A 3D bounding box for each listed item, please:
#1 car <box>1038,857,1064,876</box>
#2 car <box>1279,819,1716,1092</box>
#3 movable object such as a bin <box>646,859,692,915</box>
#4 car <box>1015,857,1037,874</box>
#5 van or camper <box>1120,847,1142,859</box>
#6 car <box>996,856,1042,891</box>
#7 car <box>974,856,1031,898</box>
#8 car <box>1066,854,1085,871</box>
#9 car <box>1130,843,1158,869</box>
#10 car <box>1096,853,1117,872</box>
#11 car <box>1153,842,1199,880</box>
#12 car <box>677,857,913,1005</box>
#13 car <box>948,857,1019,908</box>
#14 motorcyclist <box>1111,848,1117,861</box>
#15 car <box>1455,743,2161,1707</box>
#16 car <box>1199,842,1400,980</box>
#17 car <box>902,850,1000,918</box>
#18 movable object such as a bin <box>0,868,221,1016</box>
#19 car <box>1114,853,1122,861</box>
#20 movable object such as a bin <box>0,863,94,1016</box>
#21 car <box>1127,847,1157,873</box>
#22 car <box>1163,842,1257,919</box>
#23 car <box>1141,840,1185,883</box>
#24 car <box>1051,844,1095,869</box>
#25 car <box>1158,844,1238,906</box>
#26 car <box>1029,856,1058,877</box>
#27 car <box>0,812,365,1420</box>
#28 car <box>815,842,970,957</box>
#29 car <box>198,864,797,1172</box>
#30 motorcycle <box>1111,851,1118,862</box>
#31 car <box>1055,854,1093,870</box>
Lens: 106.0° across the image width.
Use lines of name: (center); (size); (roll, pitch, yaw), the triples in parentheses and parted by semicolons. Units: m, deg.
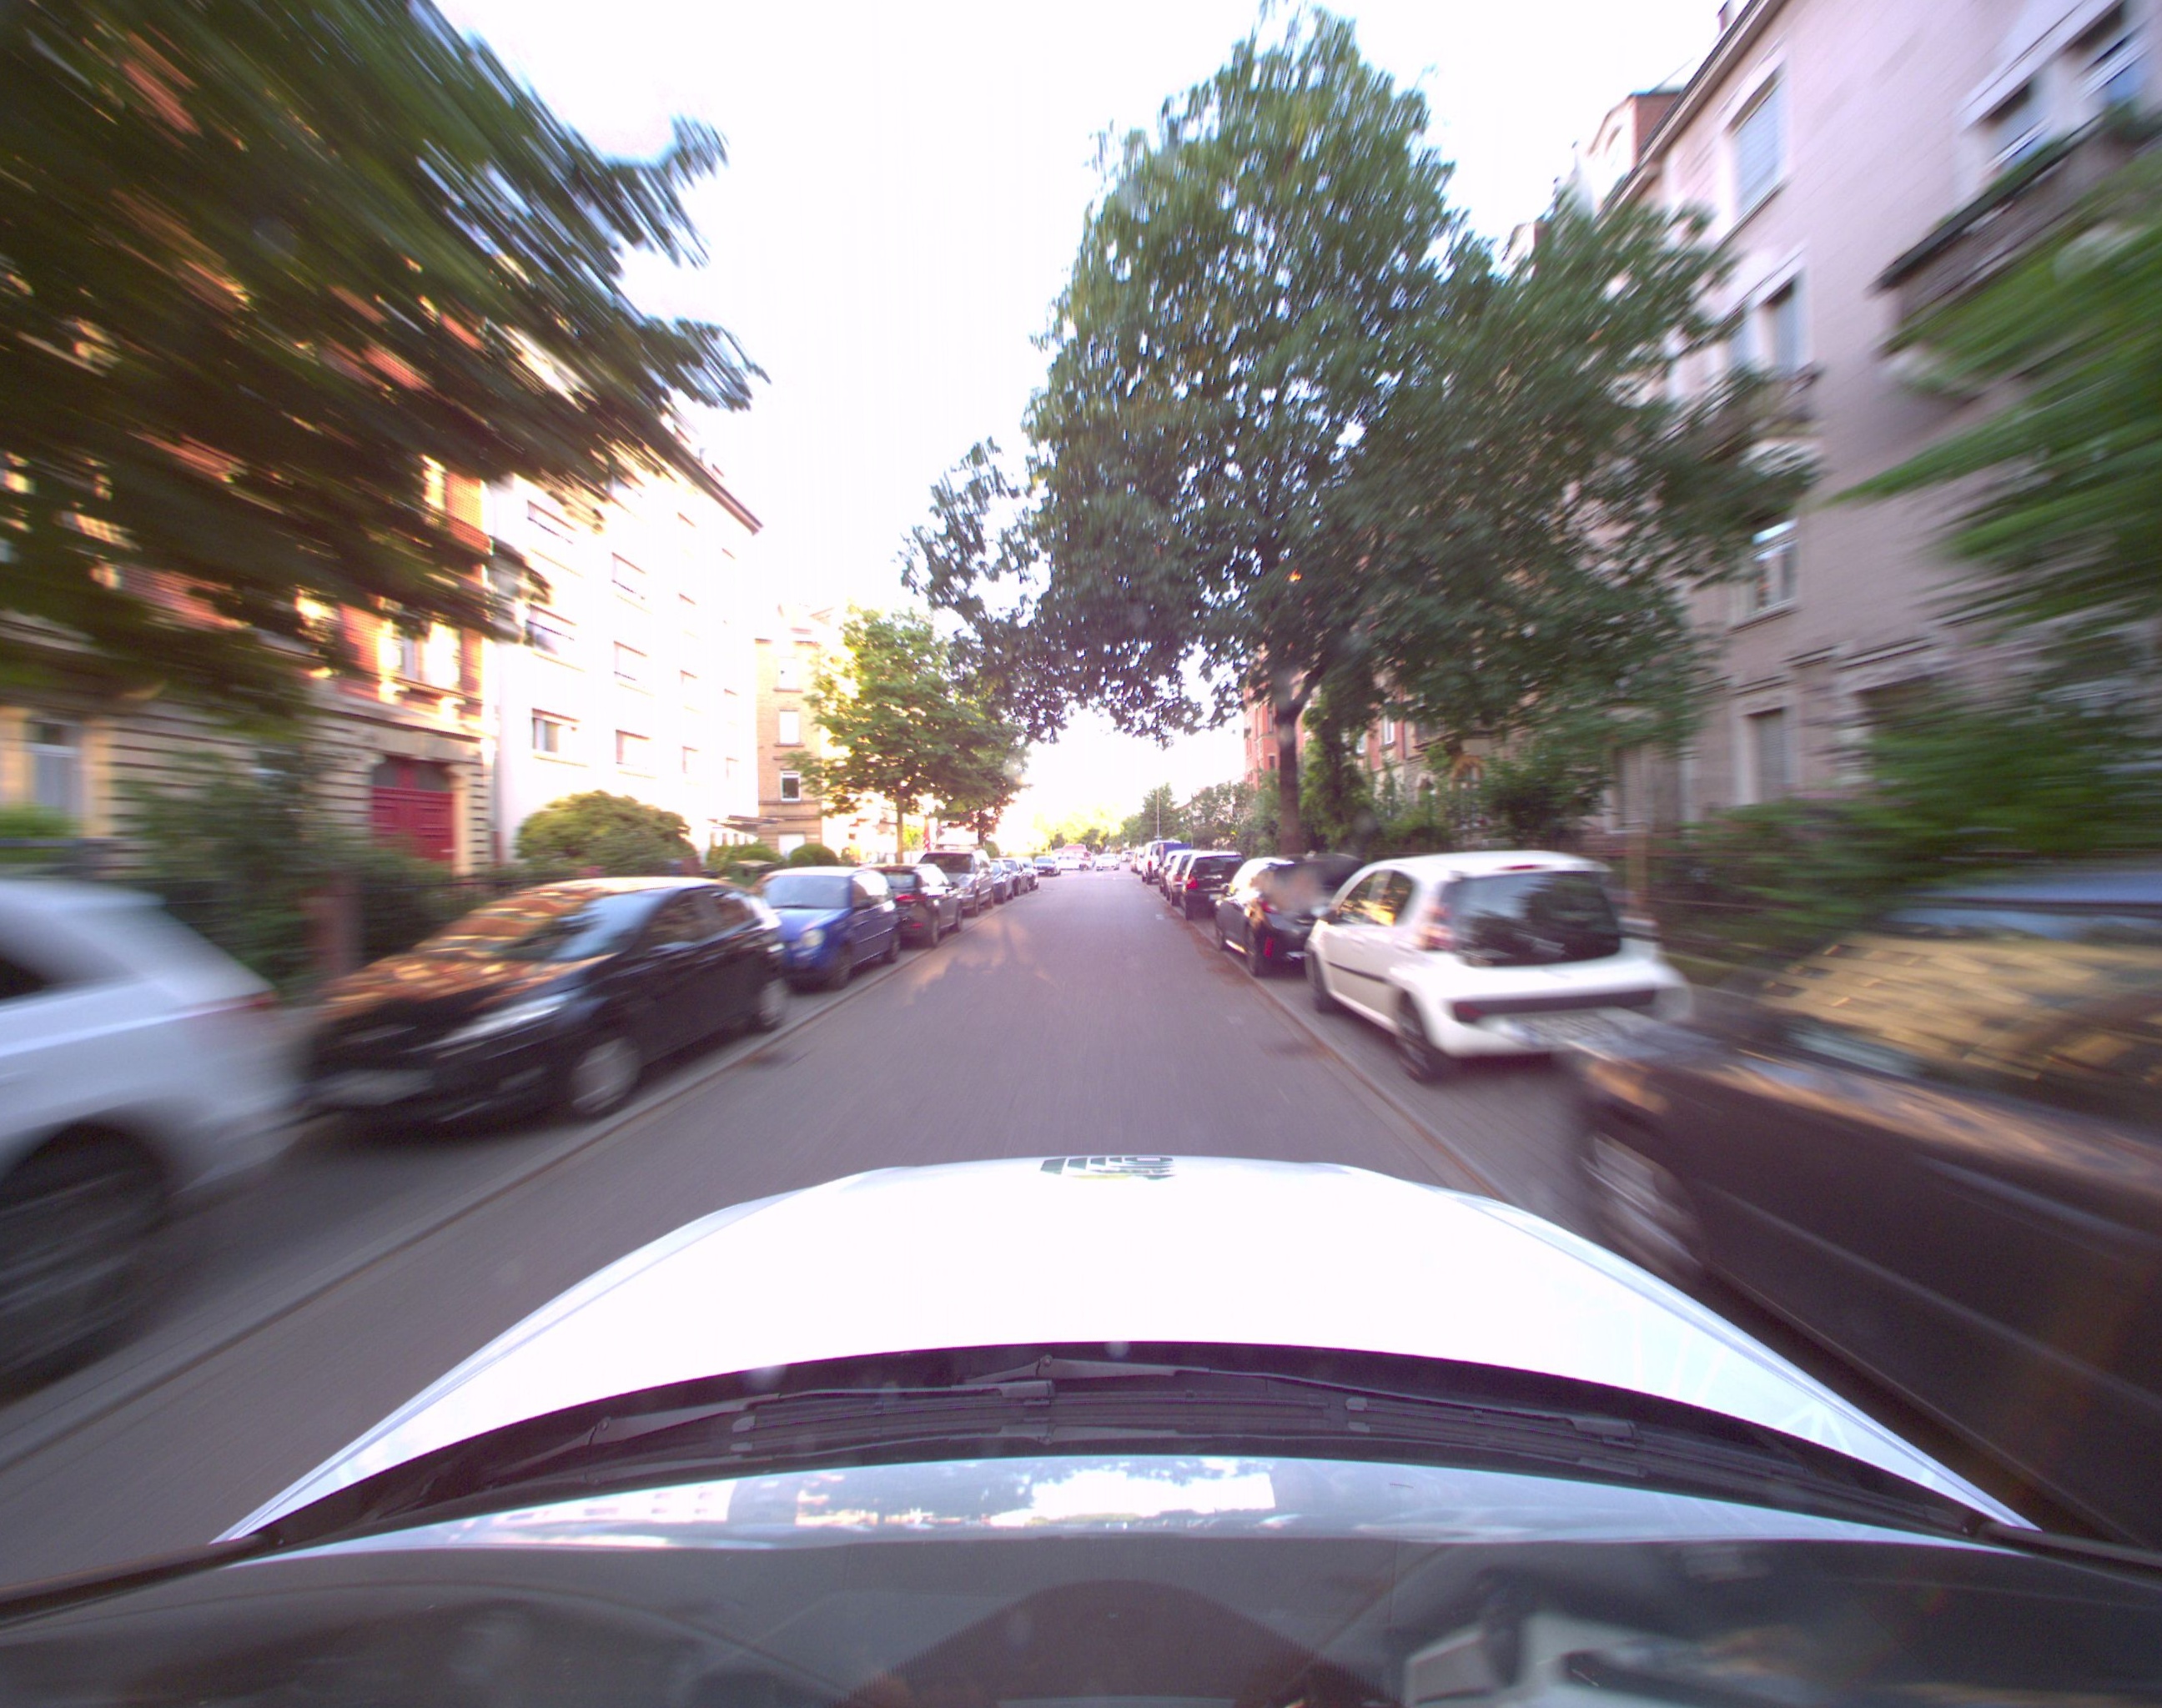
car: (-2.373, 0.976, 64.996); (1.709, 1.441, 3.633); (-1, 0, 3)
car: (2.980, 0.618, 6.803); (1.682, 1.606, 3.747); (-1, 0, -1)
movable object such as a bin: (-10.386, 0.827, 20.553); (0.730, 1.362, 0.707); (1, 0, 8)
car: (-4.776, 0.997, 71.526); (1.711, 1.441, 3.628); (-2, 0, -1)
van or camper: (12.498, -0.257, 204.214); (5.262, 2.791, 1.547); (-1, 0, -10)
car: (-2.751, 0.831, 37.018); (1.592, 1.441, 3.840); (-1, 0, 3)
car: (-2.994, 0.854, 31.826); (1.709, 1.441, 3.632); (-1, 0, 2)
car: (-0.531, 0.782, 76.508); (1.711, 1.441, 3.629); (-1, 0, -1)
car: (4.589, 0.139, 60.148); (1.682, 1.811, 3.938); (-1, 0, -1)
car: (2.311, 0.781, 73.632); (1.806, 1.596, 3.484); (-1, 0, 2)
car: (4.127, 0.298, 35.811); (1.534, 1.521, 3.430); (-1, 0, -1)
car: (-3.590, 0.869, 11.002); (1.709, 1.566, 3.790); (-1, 0, 2)
car: (-3.125, 0.867, 26.887); (1.709, 1.465, 3.989); (-1, 0, 2)
motorcyclist: (4.358, 0.041, 107.718); (0.699, 1.630, 0.822); (-2, 0, 2)
car: (2.629, 0.604, 1.909); (1.680, 1.606, 4.212); (-1, 0, 2)
car: (2.753, 0.647, 11.237); (1.680, 1.441, 4.211); (-4, 0, 2)
car: (-3.355, 0.717, 21.836); (1.709, 1.596, 4.521); (-1, 0, 2)
movable object such as a bin: (-9.598, 0.826, 8.105); (1.007, 1.321, 1.007); (1, 1, 6)
car: (8.156, 0.687, 178.889); (1.709, 1.596, 3.484); (-1, 0, 2)
movable object such as a bin: (-10.836, 0.816, 7.966); (1.097, 1.414, 1.001); (0, 1, -12)
car: (4.105, 0.401, 55.386); (1.682, 1.606, 3.938); (-1, 0, -1)
car: (2.968, 0.565, 19.422); (1.681, 1.606, 3.941); (-1, 0, 1)
car: (3.910, 0.360, 39.539); (1.675, 1.941, 3.879); (-1, 0, -1)
car: (-0.806, 0.249, 82.037); (4.336, 2.318, 1.745); (-1, 0, 0)
car: (3.286, 0.566, 23.498); (1.682, 1.606, 3.938); (-1, 0, -1)
car: (-2.705, 0.899, 59.286); (1.709, 1.486, 3.633); (-1, -1, 3)
car: (-4.065, 0.772, 1.228); (1.914, 1.717, 4.430); (-1, 0, 2)
car: (-3.269, 0.703, 14.991); (1.709, 1.790, 4.217); (-1, 0, 2)
car: (-3.745, 0.886, 6.183); (1.709, 1.566, 3.782); (-1, -1, 2)
motorcycle: (4.363, 0.289, 106.328); (0.739, 1.250, 3.380); (-2, 1, 2)
car: (-0.723, 0.809, 79.442); (3.609, 1.461, 1.605); (-1, 0, -2)
